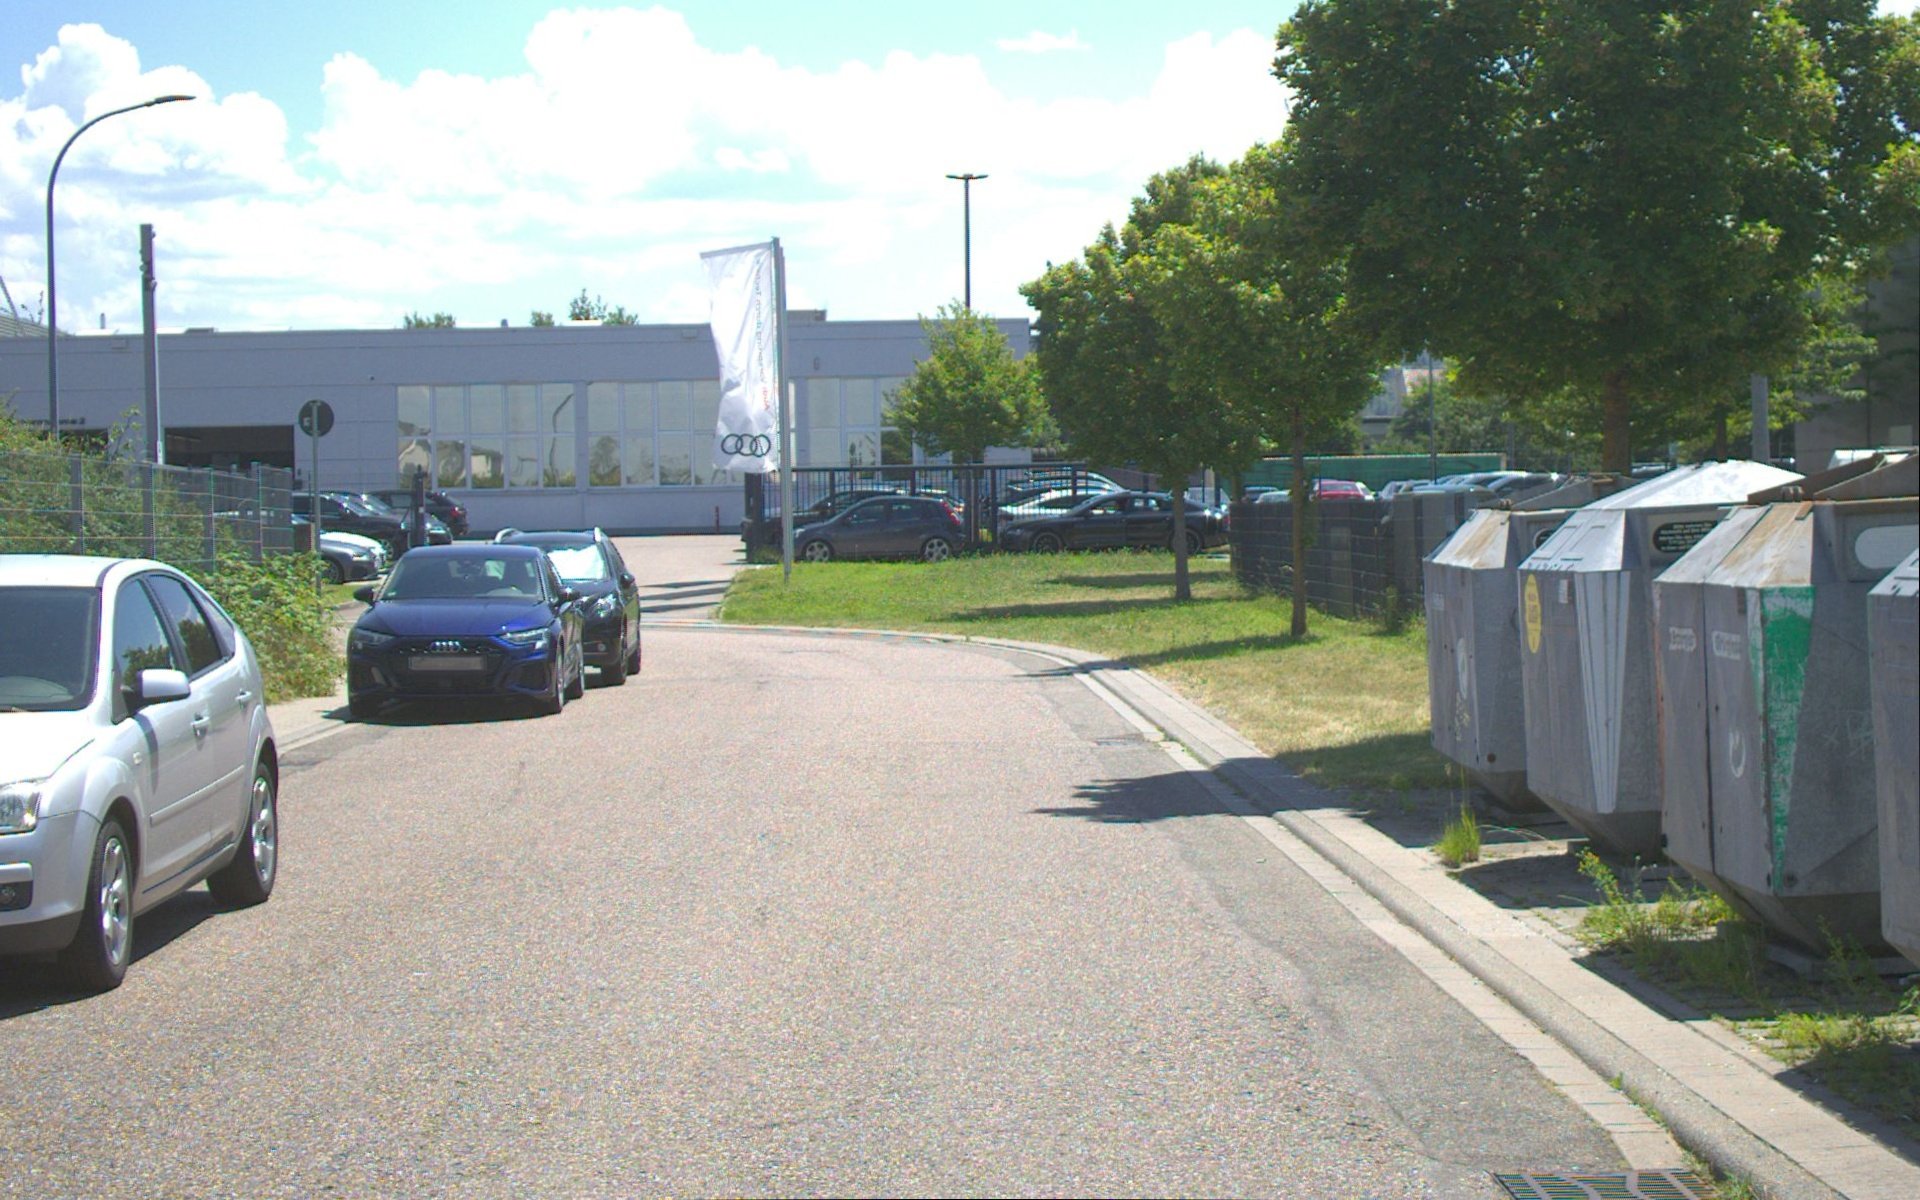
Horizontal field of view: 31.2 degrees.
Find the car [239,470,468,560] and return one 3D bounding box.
[{"bbox_3d":[-13.898,-1.956,78.979,4.883,1.916,2.000,-1,2,-1],"label":"car"}]

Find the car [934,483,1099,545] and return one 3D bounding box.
[{"bbox_3d":[1.400,-2.154,86.110,3.986,1.393,2.000,-1,-1,-2],"label":"car"}]

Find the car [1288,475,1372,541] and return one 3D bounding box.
[{"bbox_3d":[11.211,-2.775,104.400,1.993,1.821,4.000,-1,0,-1],"label":"car"}]

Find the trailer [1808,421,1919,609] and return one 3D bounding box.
[{"bbox_3d":[10.973,-1.030,39.826,1.493,1.999,3.264,-2,4,1],"label":"trailer"}]

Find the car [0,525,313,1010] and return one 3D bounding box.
[{"bbox_3d":[-3.804,0.510,13.140,1.833,1.541,4.367,-2,1,-1],"label":"car"}]

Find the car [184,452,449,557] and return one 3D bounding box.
[{"bbox_3d":[-13.831,-2.061,74.097,5.317,2.090,2.000,-1,2,-1],"label":"car"}]

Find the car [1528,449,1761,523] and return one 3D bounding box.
[{"bbox_3d":[14.424,-2.392,72.566,4.437,1.393,2.000,-1,-1,-2],"label":"car"}]

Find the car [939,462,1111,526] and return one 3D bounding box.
[{"bbox_3d":[1.546,-2.542,82.656,3.986,1.393,2.000,-1,-1,-2],"label":"car"}]

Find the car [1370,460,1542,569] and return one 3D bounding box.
[{"bbox_3d":[7.374,-1.285,51.420,1.735,1.517,3.896,-2,2,-4],"label":"car"}]

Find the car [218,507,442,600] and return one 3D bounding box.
[{"bbox_3d":[-13.952,-1.053,76.299,4.586,1.916,2.000,-1,2,-1],"label":"car"}]

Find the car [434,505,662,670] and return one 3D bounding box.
[{"bbox_3d":[-4.162,-0.164,35.320,1.833,1.541,4.265,-2,1,-1],"label":"car"}]

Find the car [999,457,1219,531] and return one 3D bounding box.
[{"bbox_3d":[3.112,-2.220,72.434,4.437,1.393,2.000,-1,-1,-2],"label":"car"}]

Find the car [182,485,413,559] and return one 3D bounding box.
[{"bbox_3d":[-13.762,-1.618,71.585,4.437,1.393,2.000,-1,-1,-2],"label":"car"}]

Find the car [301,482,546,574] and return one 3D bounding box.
[{"bbox_3d":[-10.329,-1.378,66.446,4.437,1.621,2.000,-1,-1,-2],"label":"car"}]

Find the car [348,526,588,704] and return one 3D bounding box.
[{"bbox_3d":[-4.254,0.083,30.262,1.656,1.412,4.146,-2,1,-3],"label":"car"}]

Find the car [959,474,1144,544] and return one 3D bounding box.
[{"bbox_3d":[2.022,-2.032,77.132,3.986,1.393,2.000,-1,-1,-2],"label":"car"}]

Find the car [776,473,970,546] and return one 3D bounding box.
[{"bbox_3d":[-1.847,-1.893,72.402,3.986,1.393,2.000,-1,-1,-2],"label":"car"}]

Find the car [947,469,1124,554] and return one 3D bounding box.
[{"bbox_3d":[1.744,-2.060,80.530,3.986,1.821,2.000,-1,-1,-2],"label":"car"}]
